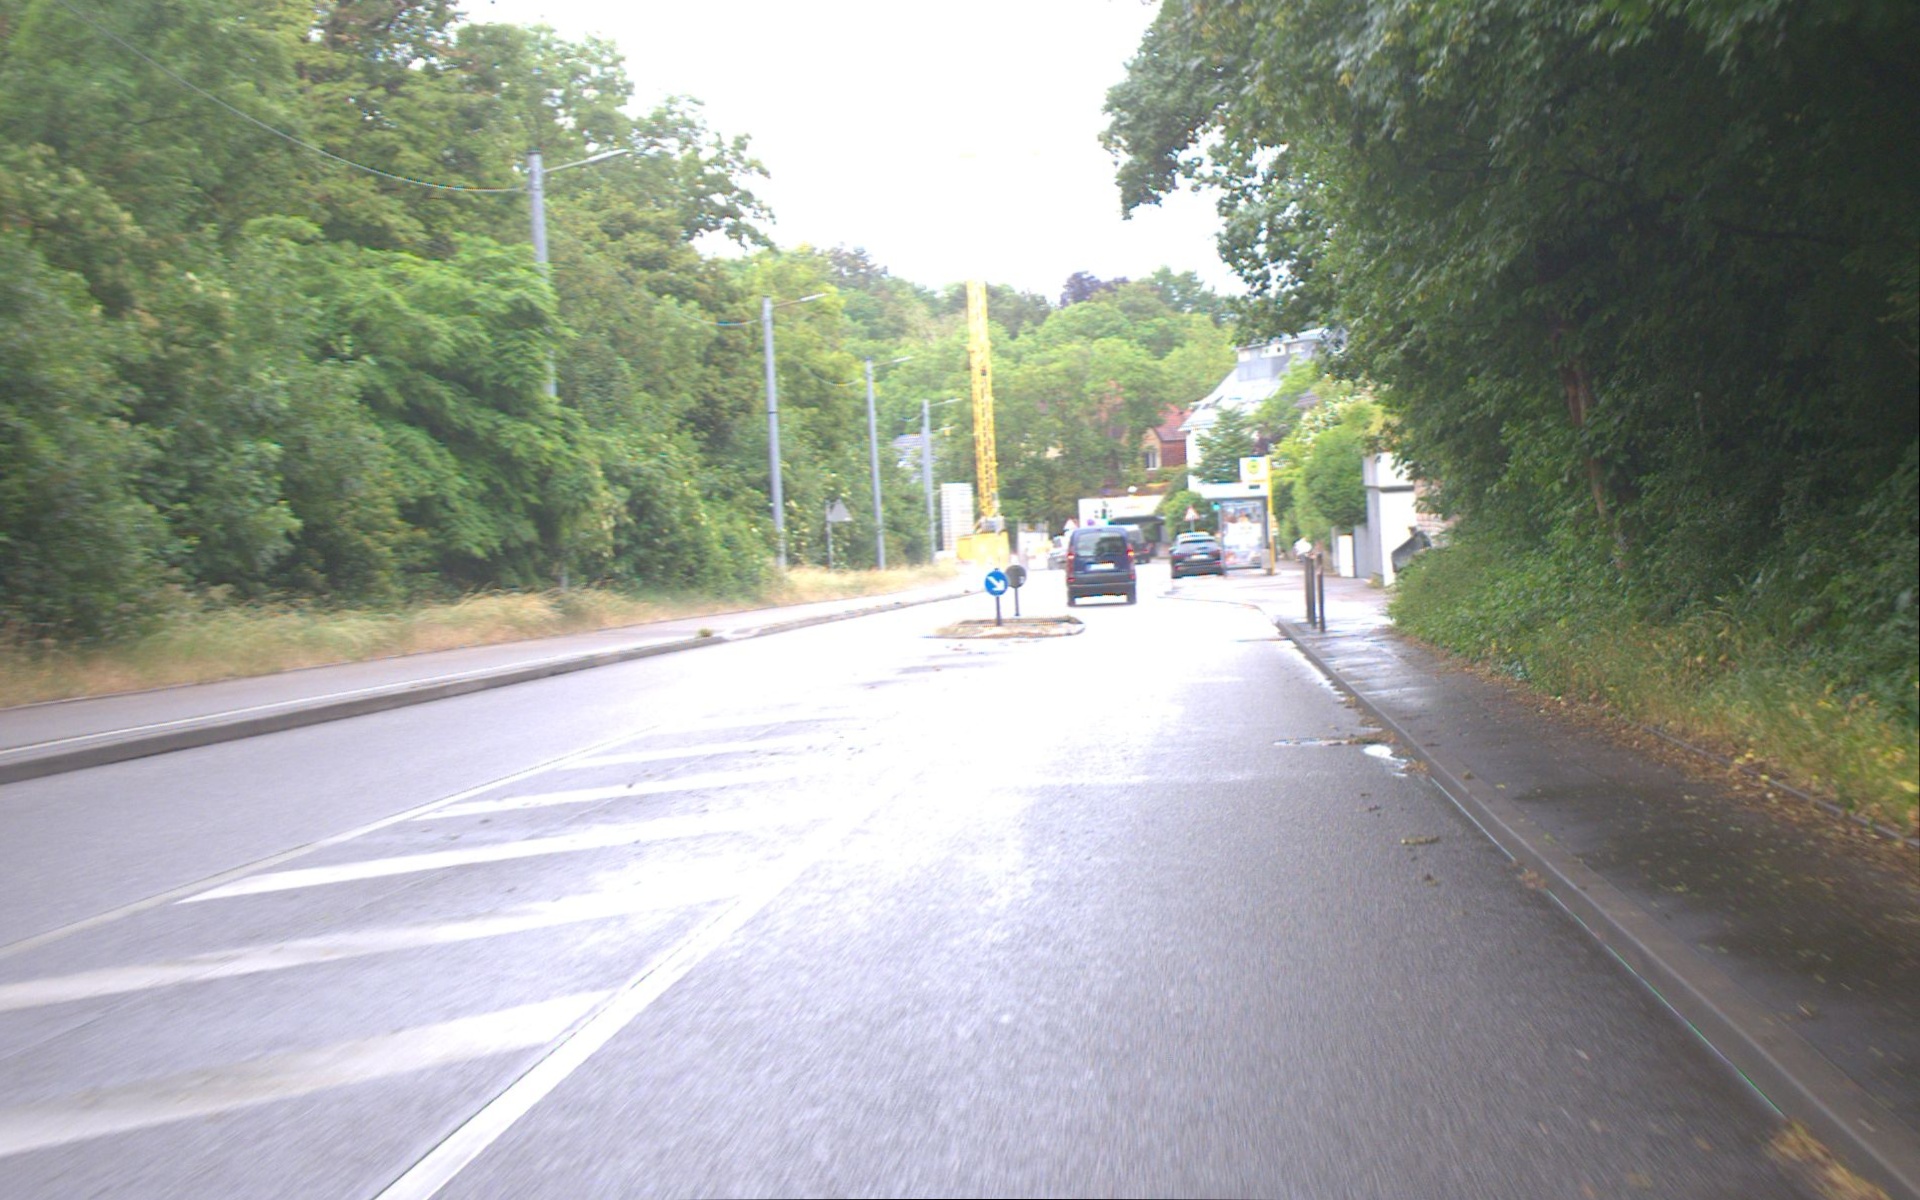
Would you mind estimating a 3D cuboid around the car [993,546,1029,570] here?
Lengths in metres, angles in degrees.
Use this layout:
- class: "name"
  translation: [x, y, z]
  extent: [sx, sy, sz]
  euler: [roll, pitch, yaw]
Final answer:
- class: "car"
  translation: [3.443, -2.835, 232.785]
  extent: [1.739, 1.546, 3.857]
  euler: [-2, 1, -10]

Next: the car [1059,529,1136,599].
- class: "car"
  translation: [3.252, -0.863, 80.884]
  extent: [1.668, 1.588, 3.682]
  euler: [-1, 1, 4]

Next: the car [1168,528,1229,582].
- class: "car"
  translation: [8.012, -1.518, 115.158]
  extent: [1.994, 1.766, 4.114]
  euler: [0, 1, 4]

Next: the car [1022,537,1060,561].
- class: "car"
  translation: [5.297, -3.335, 225.426]
  extent: [1.739, 1.547, 3.857]
  euler: [0, 1, -10]

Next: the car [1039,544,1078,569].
- class: "car"
  translation: [6.295, -2.757, 220.308]
  extent: [1.739, 1.546, 3.857]
  euler: [-2, 1, -10]
